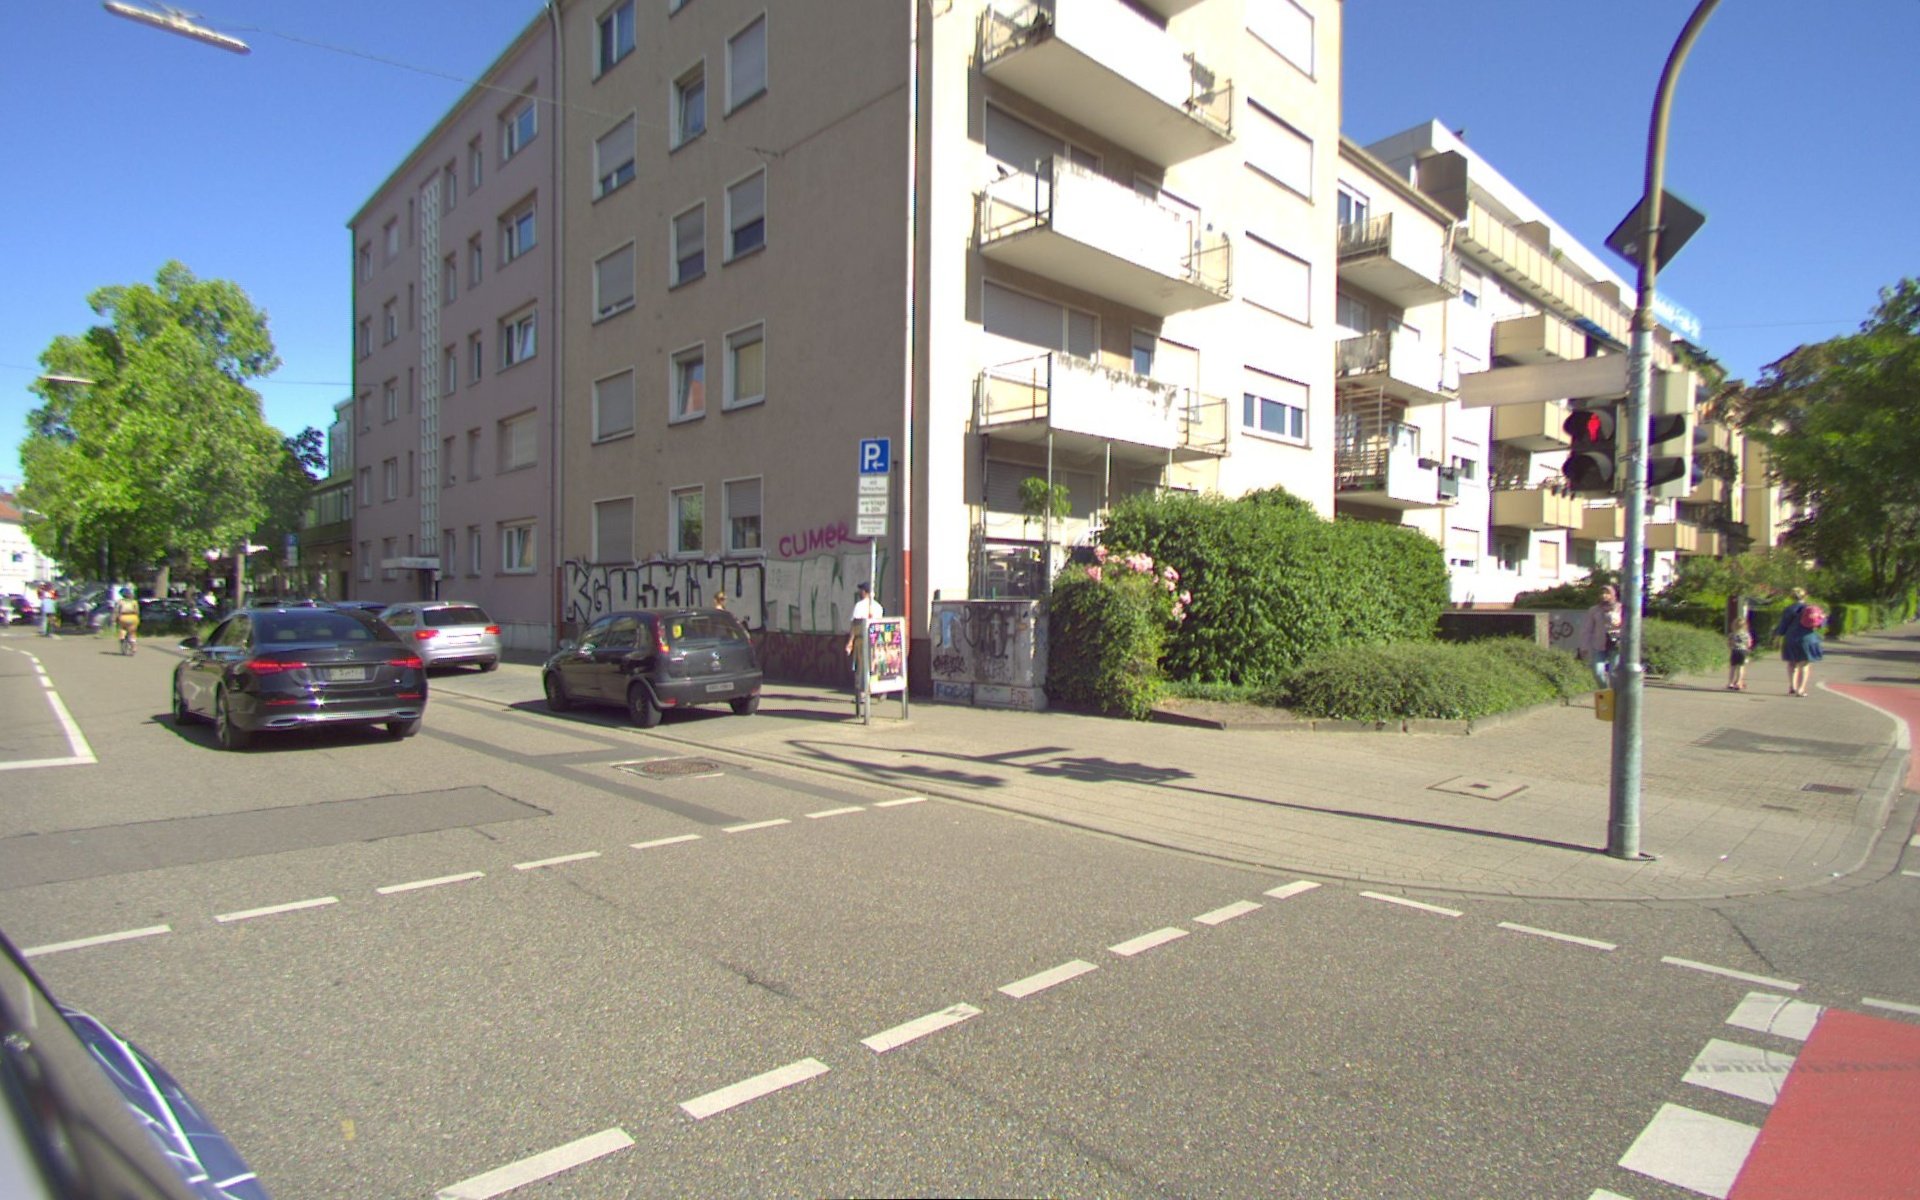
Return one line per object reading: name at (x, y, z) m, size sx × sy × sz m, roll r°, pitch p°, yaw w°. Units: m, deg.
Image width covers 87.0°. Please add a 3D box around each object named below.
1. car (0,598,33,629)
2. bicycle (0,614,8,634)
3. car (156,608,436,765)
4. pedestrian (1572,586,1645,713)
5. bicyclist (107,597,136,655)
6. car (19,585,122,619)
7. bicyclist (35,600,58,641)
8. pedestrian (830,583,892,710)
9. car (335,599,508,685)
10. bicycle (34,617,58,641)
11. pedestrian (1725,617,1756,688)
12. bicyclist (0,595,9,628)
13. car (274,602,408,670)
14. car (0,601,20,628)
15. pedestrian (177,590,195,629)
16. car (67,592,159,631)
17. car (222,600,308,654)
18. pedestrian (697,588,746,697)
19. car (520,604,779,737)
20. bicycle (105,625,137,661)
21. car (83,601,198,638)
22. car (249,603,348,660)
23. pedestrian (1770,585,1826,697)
car at (-50.664, 0.695, 53.832) m, size 1.884 × 1.564 × 4.003 m, roll 0°, pitch 0°, yaw -44°
bicycle at (-46.596, 1.162, 49.008) m, size 0.672 × 0.959 × 1.935 m, roll 2°, pitch -2°, yaw -44°
car at (-7.670, 0.832, 11.492) m, size 1.784 × 1.423 × 4.428 m, roll 3°, pitch -2°, yaw -45°
pedestrian at (8.540, 0.628, 13.322) m, size 0.697 × 1.608 × 0.638 m, roll 0°, pitch -1°, yaw 44°
bicyclist at (-22.623, 0.698, 27.299) m, size 0.536 × 1.532 × 0.775 m, roll 0°, pitch -1°, yaw -44°
car at (-66.140, 0.147, 75.348) m, size 1.976 × 2.411 × 5.489 m, roll 0°, pitch 0°, yaw 39°
bicyclist at (-37.285, 0.816, 41.313) m, size 0.672 × 1.643 × 0.899 m, roll 0°, pitch 0°, yaw -44°
pedestrian at (-1.374, 0.620, 13.984) m, size 0.566 × 1.701 × 0.670 m, roll 0°, pitch 0°, yaw -43°
car at (-11.227, 0.783, 20.925) m, size 4.804 × 1.514 × 1.803 m, roll 0°, pitch 2°, yaw 45°
bicycle at (-37.358, 1.170, 41.359) m, size 0.672 × 0.959 × 1.935 m, roll 0°, pitch 0°, yaw -44°
pedestrian at (12.942, 0.862, 16.785) m, size 0.386 × 1.155 × 0.525 m, roll 0°, pitch 0°, yaw 37°
bicyclist at (-46.631, 0.576, 49.077) m, size 0.672 × 1.588 × 0.899 m, roll 3°, pitch -2°, yaw -44°
car at (-15.815, 0.839, 25.742) m, size 4.804 × 1.514 × 1.803 m, roll 0°, pitch 2°, yaw 45°
car at (-57.387, 0.842, 60.351) m, size 1.884 × 1.564 × 4.003 m, roll 0°, pitch 0°, yaw -44°
pedestrian at (-36.507, 0.442, 47.727) m, size 0.614 × 1.820 × 0.503 m, roll 0°, pitch 0°, yaw -43°
car at (-46.544, 0.596, 55.637) m, size 3.820 × 2.058 × 1.915 m, roll 0°, pitch 0°, yaw -42°
car at (-22.783, 0.820, 33.126) m, size 1.702 × 1.588 × 4.162 m, roll -3°, pitch 2°, yaw -42°
pedestrian at (-3.581, 0.623, 15.183) m, size 0.524 × 1.593 × 0.564 m, roll 0°, pitch 0°, yaw -37°
car at (-4.261, 0.814, 13.557) m, size 3.858 × 1.459 × 1.672 m, roll 0°, pitch 2°, yaw 45°
bicycle at (-22.692, 1.150, 27.364) m, size 0.536 × 0.909 × 1.828 m, roll 0°, pitch 0°, yaw -44°
car at (-36.710, 0.842, 45.387) m, size 3.938 × 1.564 × 1.915 m, roll 0°, pitch 0°, yaw -42°
car at (-19.142, 0.849, 29.211) m, size 1.702 × 1.478 × 4.162 m, roll -3°, pitch 2°, yaw -42°
pedestrian at (13.164, 0.629, 15.893) m, size 0.954 × 1.696 × 0.575 m, roll 0°, pitch 0°, yaw -45°
